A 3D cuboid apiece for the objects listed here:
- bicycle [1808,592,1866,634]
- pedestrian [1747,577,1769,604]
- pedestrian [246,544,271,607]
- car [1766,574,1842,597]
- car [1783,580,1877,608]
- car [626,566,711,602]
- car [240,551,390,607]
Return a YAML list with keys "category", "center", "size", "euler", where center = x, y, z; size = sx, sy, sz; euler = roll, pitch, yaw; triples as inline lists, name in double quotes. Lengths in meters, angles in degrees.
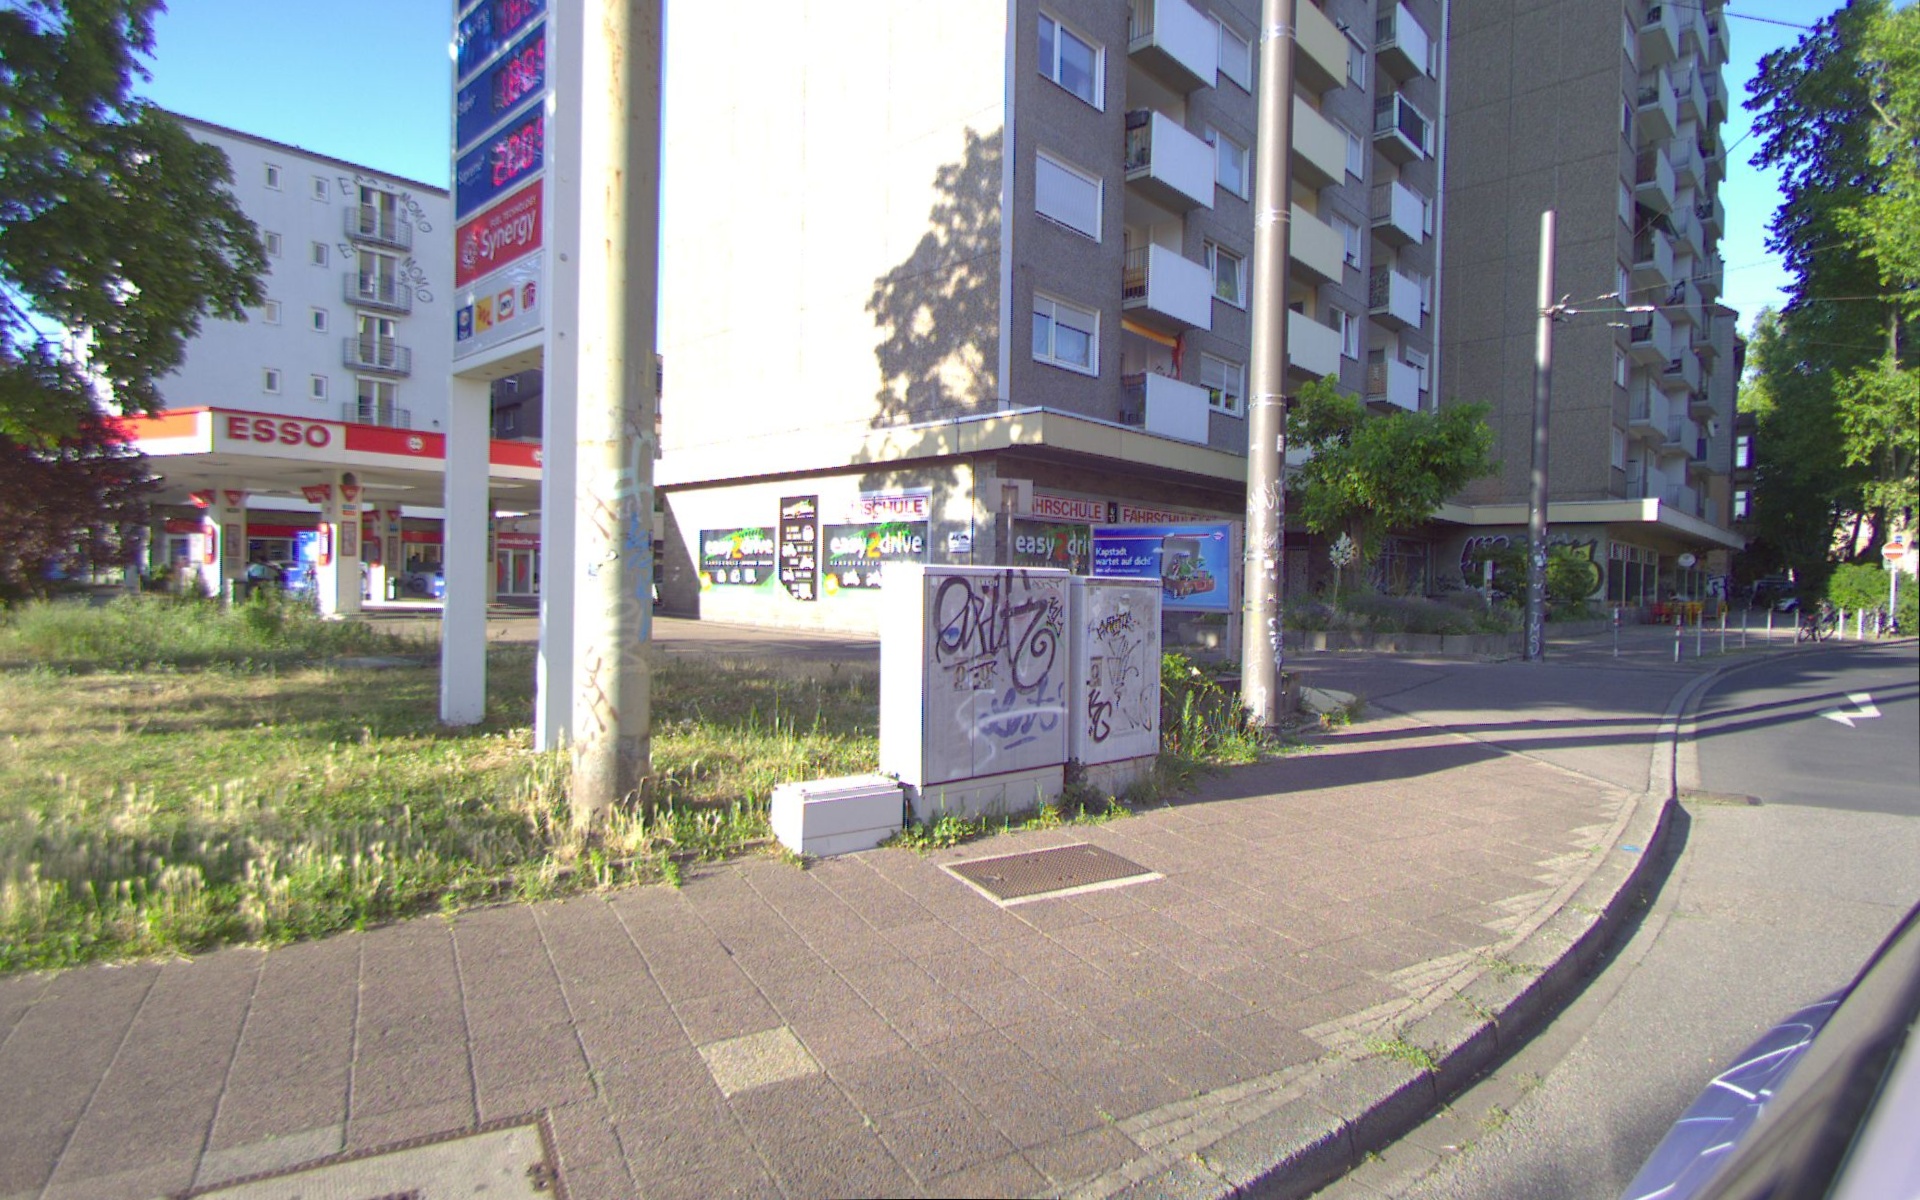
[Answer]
- category: "bicycle"
  center: [24.779, 0.350, 28.584]
  size: [2.236, 1.149, 0.611]
  euler: [0, 1, -33]
- category: "pedestrian"
  center: [60.311, -0.724, 76.509]
  size: [1.205, 2.039, 1.191]
  euler: [1, 1, 35]
- category: "pedestrian"
  center: [-19.363, -0.682, 27.932]
  size: [0.416, 1.726, 0.417]
  euler: [1, 1, 28]
- category: "car"
  center: [61.184, -1.064, 73.440]
  size: [3.973, 1.527, 1.863]
  euler: [2, 1, 34]
- category: "car"
  center: [51.237, -0.390, 59.697]
  size: [3.973, 1.527, 1.863]
  euler: [2, 1, 34]
- category: "car"
  center: [-12.460, -0.689, 43.127]
  size: [1.722, 1.437, 4.245]
  euler: [0, 2, -44]
- category: "car"
  center: [-18.708, -0.636, 29.337]
  size: [3.964, 1.370, 1.981]
  euler: [4, 2, 28]
